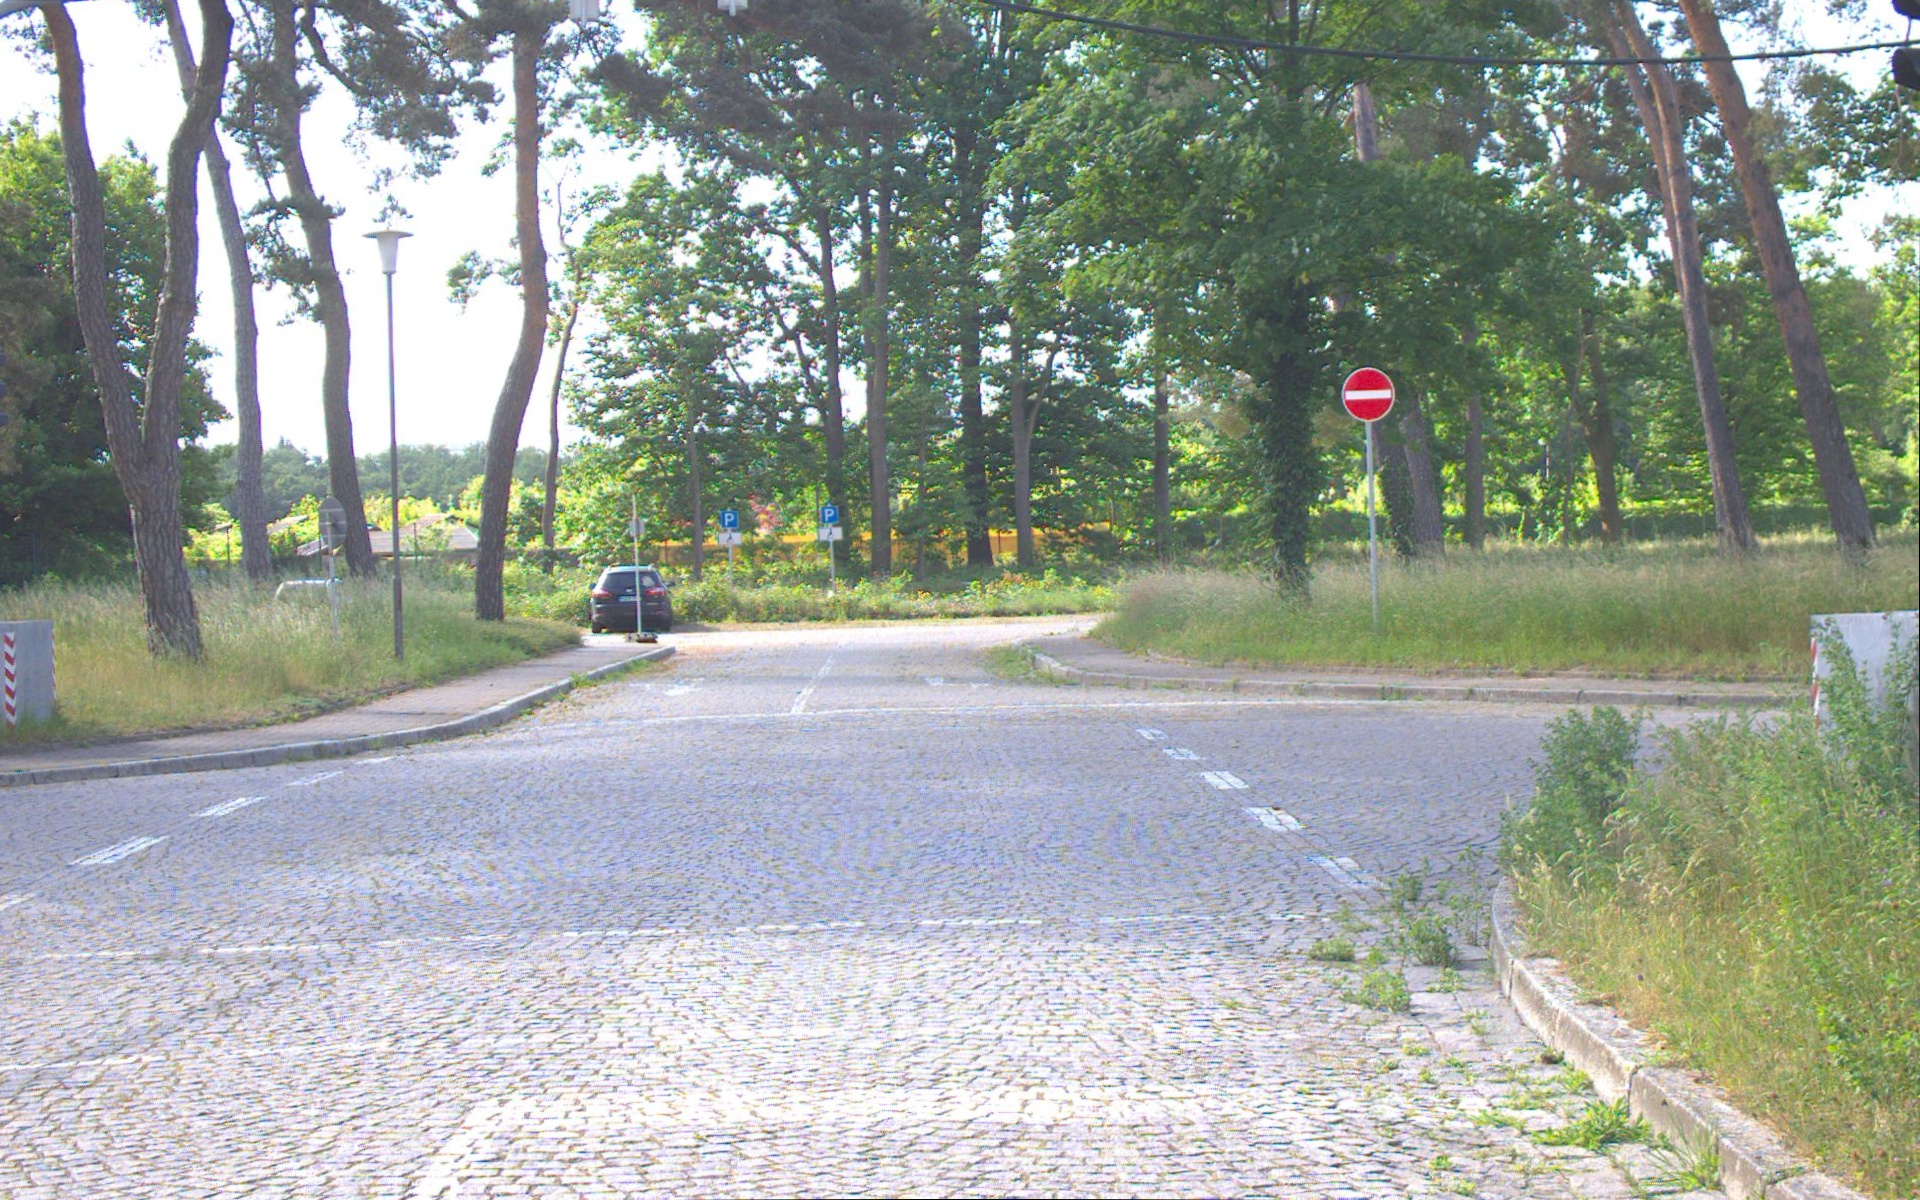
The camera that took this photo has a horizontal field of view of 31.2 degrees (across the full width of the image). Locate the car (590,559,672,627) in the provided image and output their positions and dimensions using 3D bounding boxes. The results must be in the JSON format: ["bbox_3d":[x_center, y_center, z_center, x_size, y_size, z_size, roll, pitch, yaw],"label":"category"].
[{"bbox_3d":[-7.672,-0.184,80.422,1.709,1.491,3.919,-2,1,-3],"label":"car"}]

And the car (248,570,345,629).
[{"bbox_3d":[-15.622,-0.029,81.069,1.709,1.269,3.919,-2,1,-3],"label":"car"}]
